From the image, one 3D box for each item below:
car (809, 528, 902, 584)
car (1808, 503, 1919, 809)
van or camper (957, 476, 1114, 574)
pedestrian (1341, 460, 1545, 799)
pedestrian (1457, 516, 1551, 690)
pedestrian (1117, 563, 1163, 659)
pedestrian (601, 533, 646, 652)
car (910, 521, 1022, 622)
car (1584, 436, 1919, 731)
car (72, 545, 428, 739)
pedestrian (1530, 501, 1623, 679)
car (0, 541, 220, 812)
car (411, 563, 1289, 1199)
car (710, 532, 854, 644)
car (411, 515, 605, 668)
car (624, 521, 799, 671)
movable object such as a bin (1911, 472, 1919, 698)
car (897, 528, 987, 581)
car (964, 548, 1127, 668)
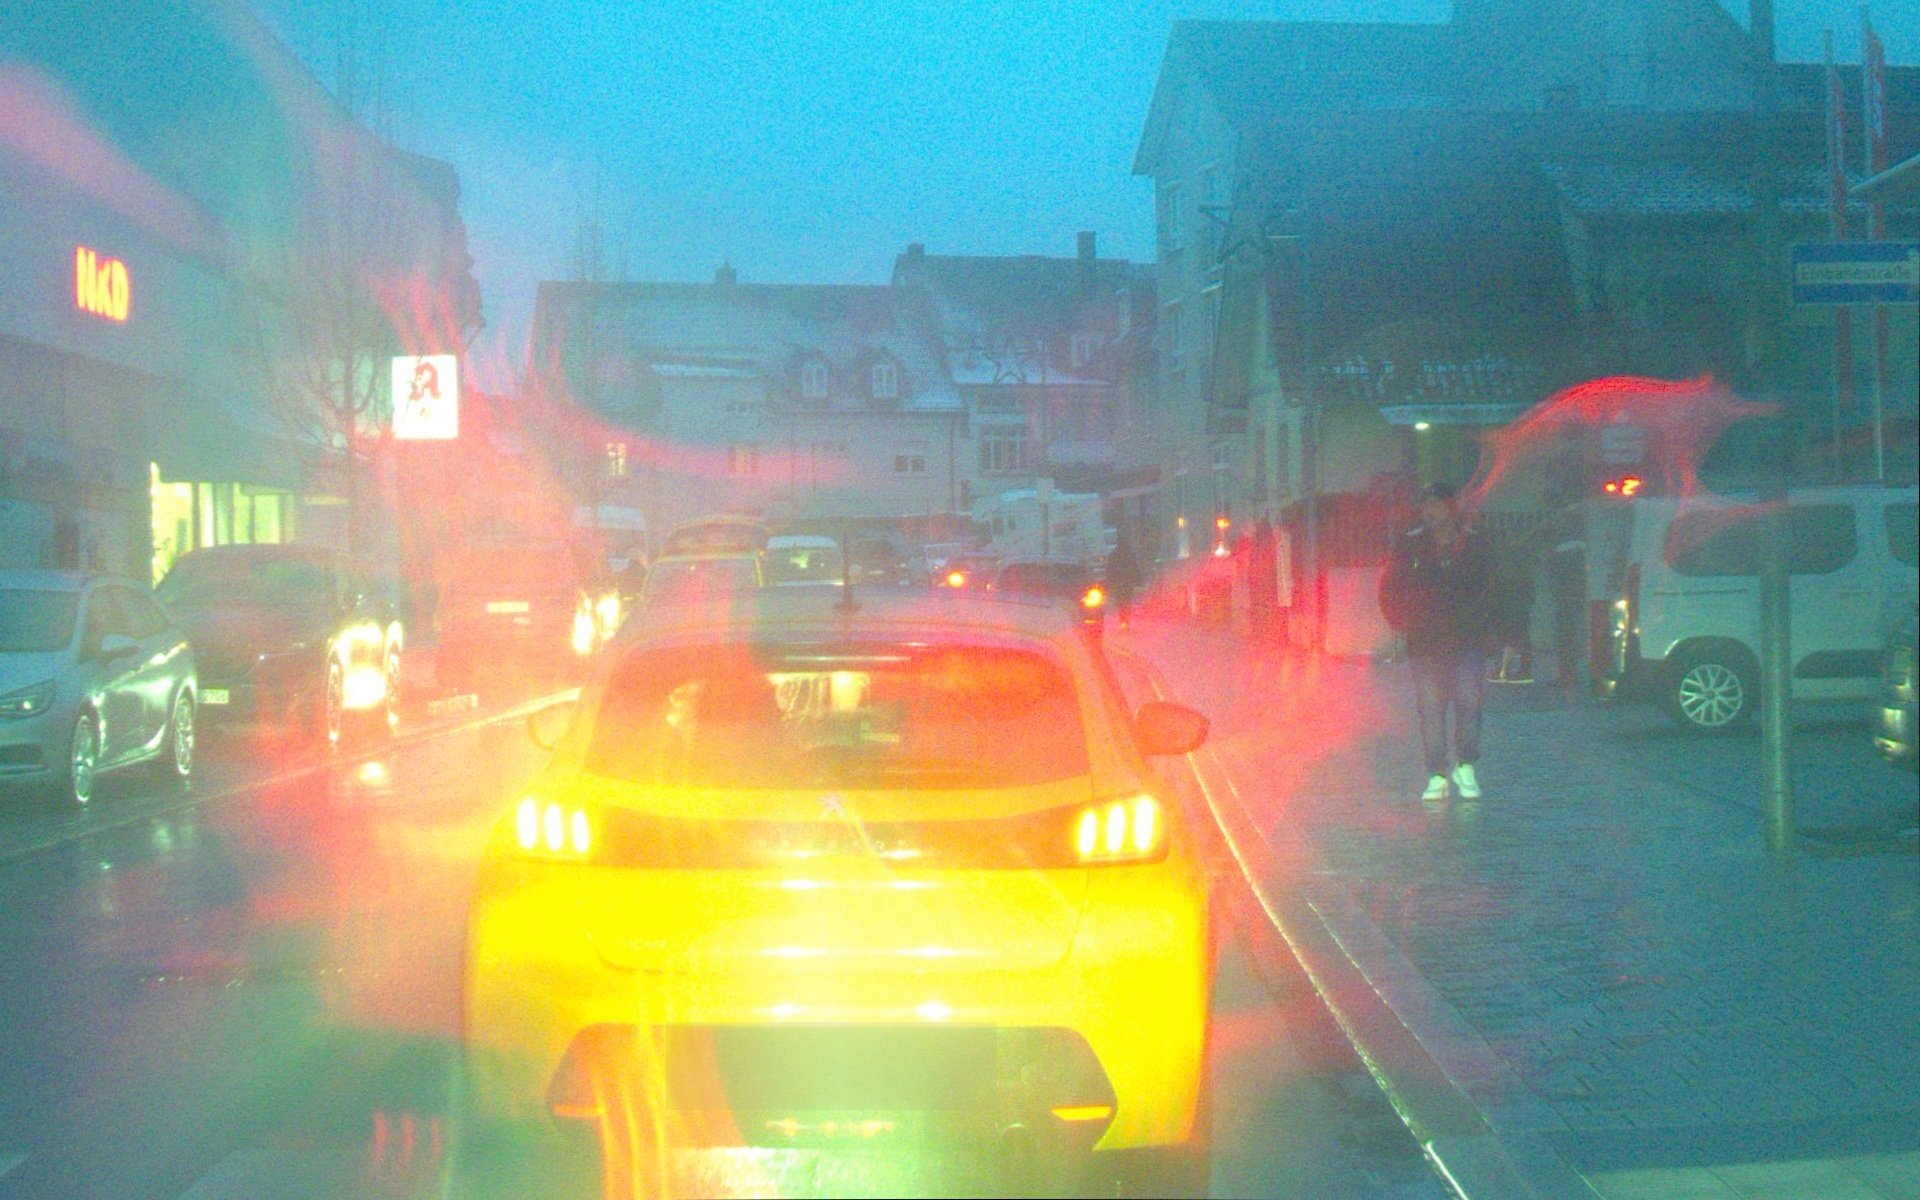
[{"bbox_3d":[-3.490,-1.464,114.334,1.993,1.759,4.352,-2,2,-16],"label":"car"},{"bbox_3d":[6.549,0.237,17.565,3.987,1.481,1.912,-1,0,3],"label":"car"},{"bbox_3d":[2.476,-2.496,115.419,2.650,3.037,6.736,-4,2,-22],"label":"van or camper"},{"bbox_3d":[2.762,0.161,19.770,0.966,1.883,1.006,1,0,-2],"label":"pedestrian"},{"bbox_3d":[5.460,0.022,34.559,0.843,1.699,0.839,-2,0,7],"label":"pedestrian"},{"bbox_3d":[3.299,0.191,63.001,0.745,1.723,0.873,0,2,-3],"label":"pedestrian"},{"bbox_3d":[-4.532,-0.107,46.339,0.574,1.580,0.530,0,2,-4],"label":"pedestrian"},{"bbox_3d":[0.080,-0.552,65.806,1.993,1.851,4.000,1,1,-2],"label":"car"},{"bbox_3d":[6.799,-0.163,25.620,4.092,2.042,1.999,-2,1,9],"label":"car"},{"bbox_3d":[-5.970,0.300,29.514,1.993,1.517,4.978,0,1,0],"label":"car"},{"bbox_3d":[5.949,-0.099,33.196,0.703,1.699,0.915,0,0,-2],"label":"pedestrian"},{"bbox_3d":[-6.292,0.398,22.127,1.993,1.553,4.621,1,1,1],"label":"car"},{"bbox_3d":[-0.237,0.677,9.170,1.814,1.528,4.000,1,1,0],"label":"car"},{"bbox_3d":[-2.975,-0.234,56.582,1.951,1.541,4.417,-2,4,-8],"label":"car"},{"bbox_3d":[-5.541,-0.153,42.691,2.085,1.786,5.025,0,1,-4],"label":"car"},{"bbox_3d":[-3.147,-0.100,44.455,1.993,1.700,4.968,2,2,-2],"label":"car"},{"bbox_3d":[5.088,0.216,15.067,1.392,1.638,1.262,-3,1,-2],"label":"movable object such as a bin"},{"bbox_3d":[-0.630,-1.511,114.675,1.993,1.605,4.175,-2,0,-14],"label":"car"},{"bbox_3d":[1.148,0.086,47.864,1.993,1.583,4.000,1,1,-2],"label":"car"}]
